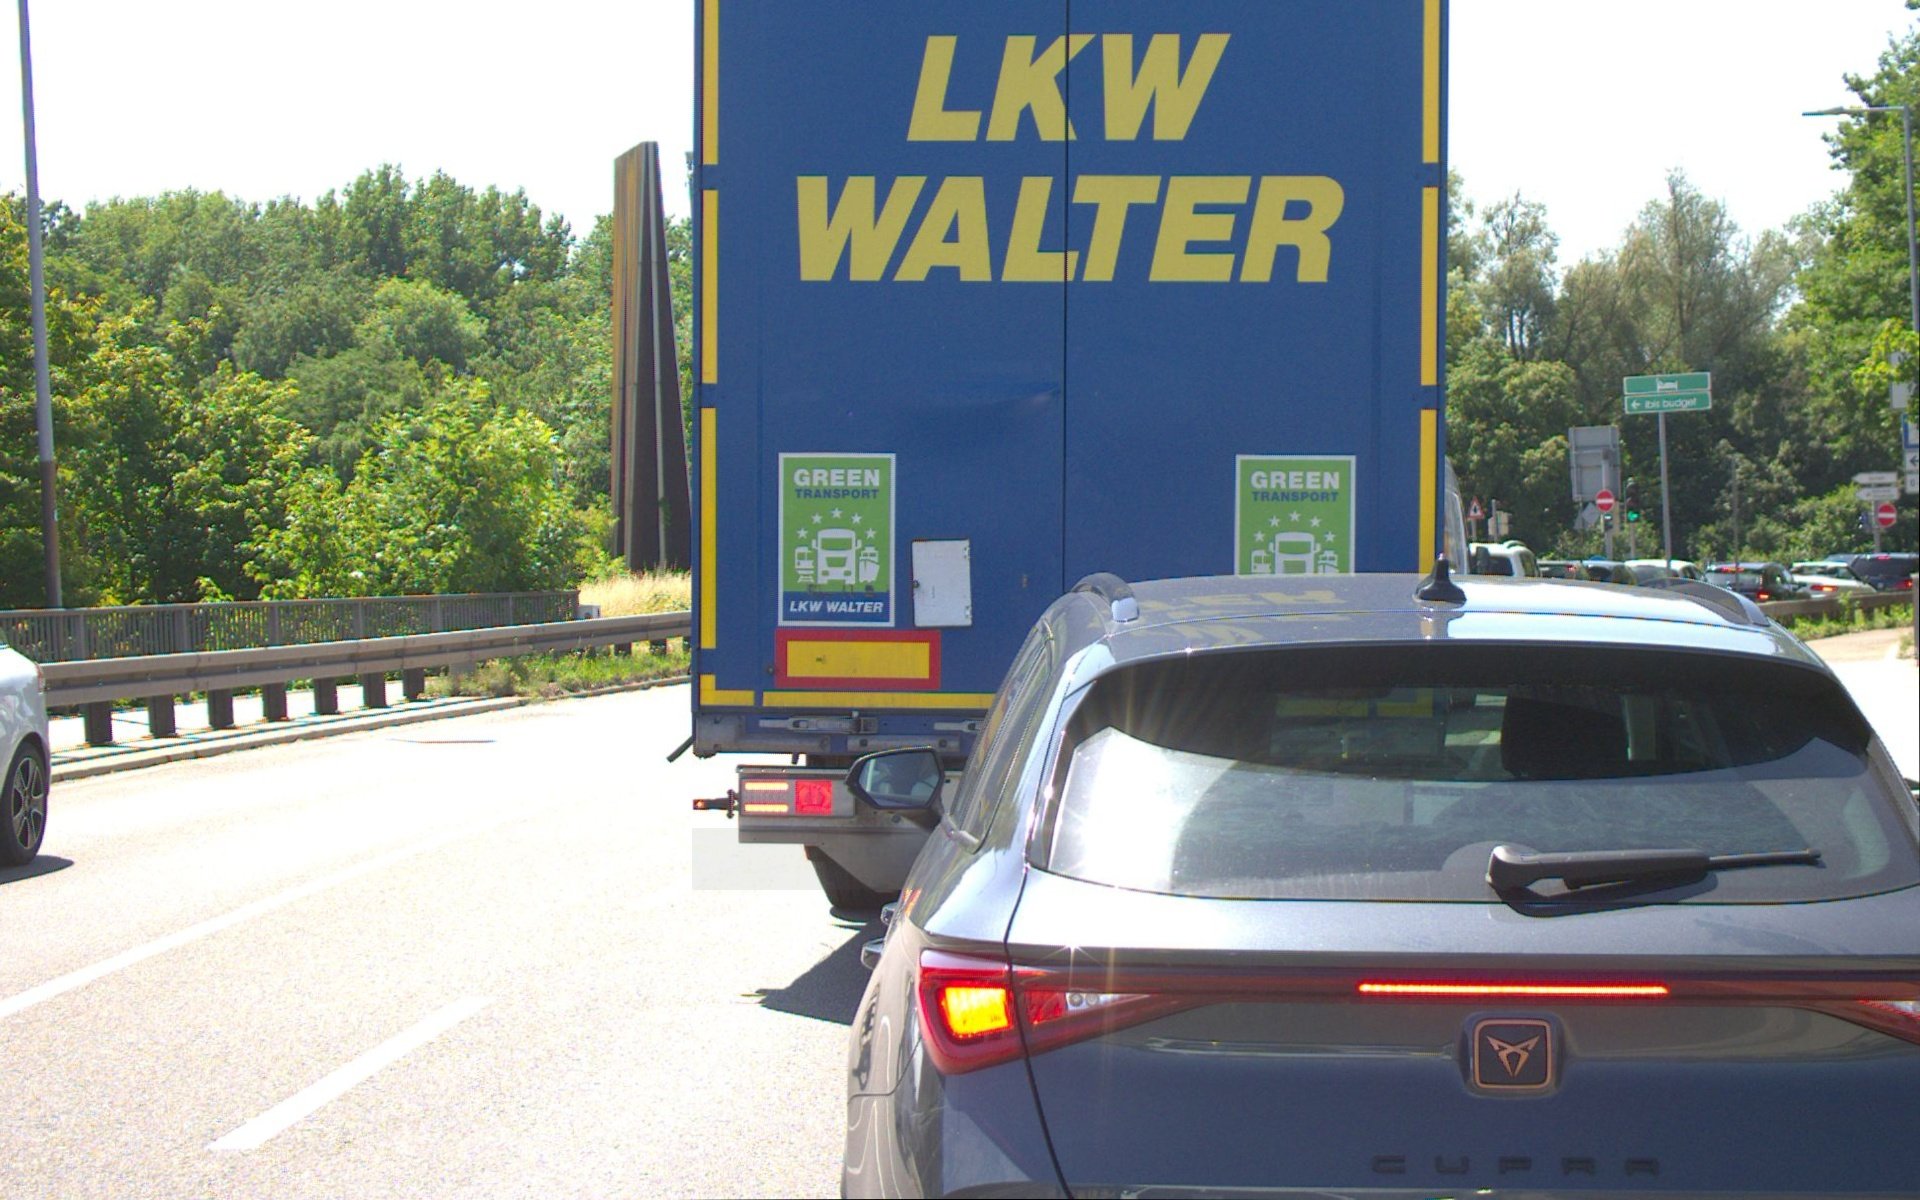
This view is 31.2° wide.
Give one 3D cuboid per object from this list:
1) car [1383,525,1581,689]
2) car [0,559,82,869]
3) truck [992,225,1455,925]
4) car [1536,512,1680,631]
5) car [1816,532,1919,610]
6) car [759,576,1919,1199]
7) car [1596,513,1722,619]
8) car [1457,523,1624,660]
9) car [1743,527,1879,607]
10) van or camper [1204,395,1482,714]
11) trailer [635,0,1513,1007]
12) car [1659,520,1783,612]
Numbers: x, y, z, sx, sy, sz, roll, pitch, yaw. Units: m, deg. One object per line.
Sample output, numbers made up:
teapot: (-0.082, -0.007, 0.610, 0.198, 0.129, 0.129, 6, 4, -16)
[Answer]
car: (6.272, 0.033, 41.001, 1.722, 1.837, 3.997, 0, 2, 18)
car: (-5.360, 0.547, 15.216, 1.599, 1.444, 4.055, 0, 1, 5)
truck: (2.073, -0.225, 25.054, 2.905, 4.403, 6.554, 0, 1, 7)
car: (10.430, -0.489, 55.172, 1.722, 1.837, 3.996, 0, 1, 19)
car: (21.352, -0.668, 80.367, 1.688, 1.754, 3.994, 0, 0, 28)
car: (0.667, 0.702, 5.937, 1.677, 1.451, 3.958, 0, 1, 2)
car: (12.529, -0.629, 61.506, 1.722, 1.837, 3.996, 0, 1, 19)
car: (8.034, -0.160, 47.318, 1.722, 1.796, 3.997, 0, 1, 18)
car: (18.447, -0.701, 74.412, 1.996, 1.570, 3.994, 2, 0, 26)
van or camper: (3.860, -0.462, 33.619, 2.155, 2.806, 6.384, 0, 1, 11)
trailer: (1.130, -0.995, 17.563, 2.905, 4.403, 12.430, 0, 1, 7)
car: (15.111, -0.660, 68.158, 1.687, 1.754, 3.995, 0, 0, 23)
